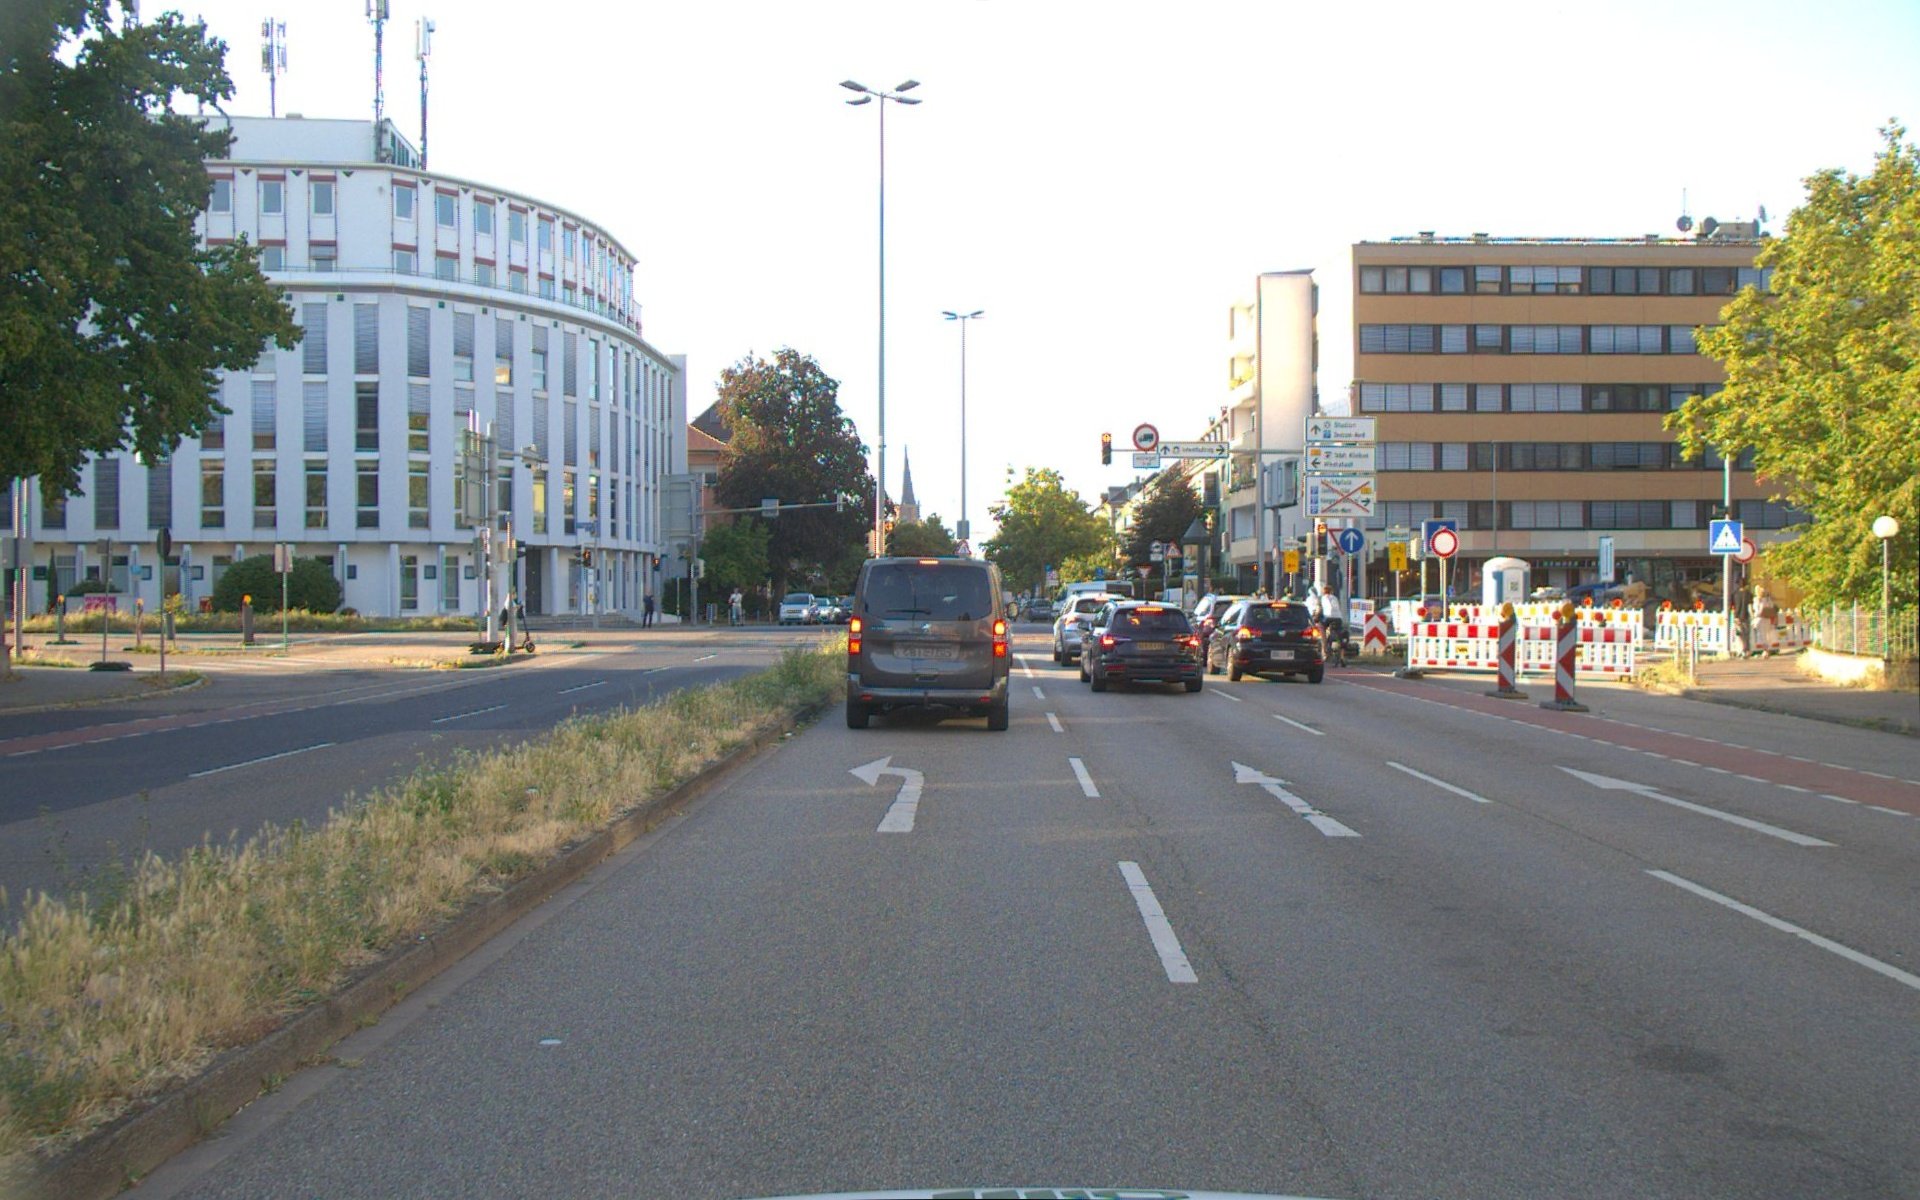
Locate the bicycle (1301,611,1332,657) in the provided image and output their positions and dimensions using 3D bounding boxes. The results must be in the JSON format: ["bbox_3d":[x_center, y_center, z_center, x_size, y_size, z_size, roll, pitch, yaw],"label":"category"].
[{"bbox_3d":[8.357,0.784,38.857,0.329,1.025,1.856,0,0,0],"label":"bicycle"}]

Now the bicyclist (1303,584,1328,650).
[{"bbox_3d":[8.362,0.392,38.939,0.432,1.552,0.725,0,0,0],"label":"bicyclist"}]

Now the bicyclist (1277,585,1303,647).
[{"bbox_3d":[8.348,0.408,41.875,0.502,1.552,0.725,0,0,0],"label":"bicyclist"}]

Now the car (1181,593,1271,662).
[{"bbox_3d":[5.901,0.584,36.982,1.474,1.474,3.305,0,0,0],"label":"car"}]

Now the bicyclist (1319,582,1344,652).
[{"bbox_3d":[8.233,0.376,36.665,0.432,1.552,0.482,0,0,0],"label":"bicyclist"}]

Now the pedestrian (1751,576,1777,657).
[{"bbox_3d":[18.556,0.379,38.177,0.477,1.866,0.570,0,0,31],"label":"pedestrian"}]

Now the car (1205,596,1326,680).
[{"bbox_3d":[5.722,0.672,31.341,1.600,1.474,3.745,1,0,0],"label":"car"}]

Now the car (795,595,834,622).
[{"bbox_3d":[-7.888,0.437,89.967,1.818,1.445,3.999,-1,0,-1],"label":"car"}]

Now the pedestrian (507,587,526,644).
[{"bbox_3d":[-11.898,0.418,44.390,0.466,1.532,0.334,0,0,-12],"label":"pedestrian"}]

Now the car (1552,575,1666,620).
[{"bbox_3d":[27.828,-0.103,71.021,4.129,1.849,2.000,-1,0,0],"label":"car"}]

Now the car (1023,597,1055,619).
[{"bbox_3d":[5.339,0.528,112.278,1.866,1.396,3.999,-1,0,-1],"label":"car"}]

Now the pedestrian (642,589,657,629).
[{"bbox_3d":[-13.707,0.395,72.975,0.615,1.752,0.669,0,0,-13],"label":"pedestrian"}]

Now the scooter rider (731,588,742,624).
[{"bbox_3d":[-10.827,0.294,80.166,0.471,1.727,0.636,0,0,0],"label":"scooter rider"}]

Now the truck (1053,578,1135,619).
[{"bbox_3d":[7.083,-0.088,87.936,2.106,2.123,4.582,-1,0,-31],"label":"truck"}]

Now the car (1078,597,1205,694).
[{"bbox_3d":[2.928,0.687,27.467,1.647,1.446,4.214,1,0,0],"label":"car"}]

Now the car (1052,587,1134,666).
[{"bbox_3d":[2.905,0.549,36.630,1.497,1.641,3.745,1,0,0],"label":"car"}]

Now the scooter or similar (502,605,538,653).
[{"bbox_3d":[-11.768,0.767,44.234,0.877,1.255,0.370,0,0,-11],"label":"scooter or similar"}]

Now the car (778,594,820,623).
[{"bbox_3d":[-8.164,0.404,84.127,1.818,1.445,3.999,-1,0,-1],"label":"car"}]

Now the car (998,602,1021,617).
[{"bbox_3d":[4.564,0.869,152.523,1.866,1.396,3.999,-1,0,-1],"label":"car"}]

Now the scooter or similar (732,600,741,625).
[{"bbox_3d":[-10.826,0.609,80.221,0.279,1.209,1.169,0,0,0],"label":"scooter or similar"}]

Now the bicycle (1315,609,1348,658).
[{"bbox_3d":[8.239,0.734,36.719,0.329,1.025,1.856,0,0,0],"label":"bicycle"}]

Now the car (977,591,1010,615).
[{"bbox_3d":[2.396,0.233,119.645,1.954,1.691,3.996,-1,0,-4],"label":"car"}]

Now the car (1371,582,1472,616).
[{"bbox_3d":[20.200,-0.047,72.467,3.910,1.445,1.785,0,0,-6],"label":"car"}]

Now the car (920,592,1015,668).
[{"bbox_3d":[0.157,0.605,36.052,1.952,1.557,4.000,0,0,0],"label":"car"}]

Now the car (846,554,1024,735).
[{"bbox_3d":[-0.259,0.466,19.983,1.868,1.896,4.526,1,0,0],"label":"car"}]
